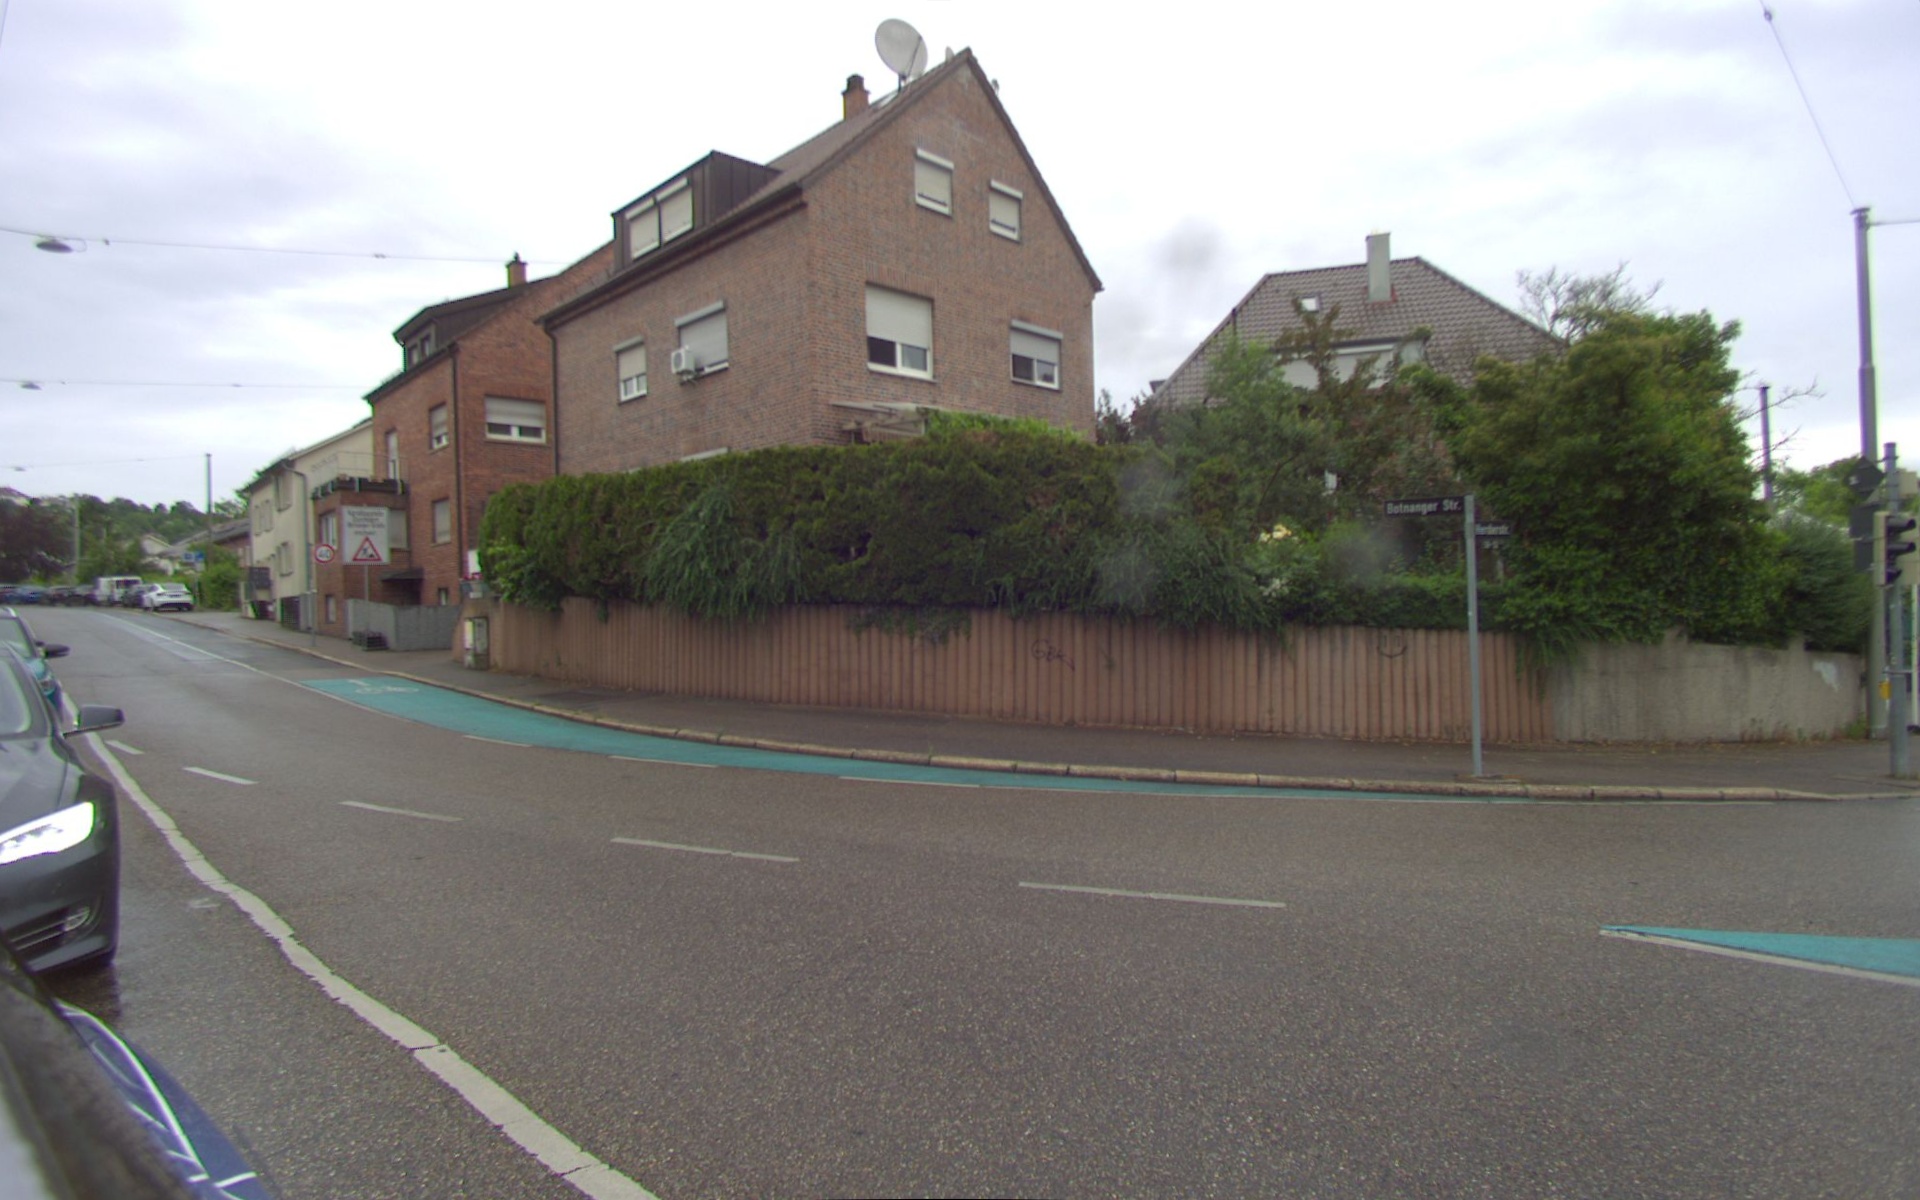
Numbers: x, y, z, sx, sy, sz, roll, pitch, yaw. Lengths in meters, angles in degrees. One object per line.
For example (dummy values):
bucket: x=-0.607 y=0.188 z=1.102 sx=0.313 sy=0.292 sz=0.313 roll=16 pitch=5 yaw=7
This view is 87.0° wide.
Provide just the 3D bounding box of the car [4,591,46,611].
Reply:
car: x=-71.352 y=0.080 z=77.204 sx=3.895 sy=1.501 sz=1.605 roll=-1 pitch=2 yaw=36

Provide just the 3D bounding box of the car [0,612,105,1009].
car: x=-5.397 y=0.797 z=4.700 sx=4.002 sy=1.426 sz=1.845 roll=0 pitch=0 yaw=45

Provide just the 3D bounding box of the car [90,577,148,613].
car: x=-57.015 y=-0.327 z=68.581 sx=4.544 sy=2.303 sz=2.229 roll=0 pitch=2 yaw=41

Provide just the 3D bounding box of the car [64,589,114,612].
car: x=-61.543 y=0.056 z=71.488 sx=4.002 sy=1.501 sz=1.636 roll=-1 pitch=2 yaw=34

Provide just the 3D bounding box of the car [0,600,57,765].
car: x=-11.034 y=0.806 z=10.873 sx=3.785 sy=1.601 sz=1.765 roll=0 pitch=0 yaw=45

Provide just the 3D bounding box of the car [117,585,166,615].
car: x=-52.369 y=-0.017 z=64.723 sx=4.262 sy=1.817 sz=1.791 roll=0 pitch=2 yaw=42

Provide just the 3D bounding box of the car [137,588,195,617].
car: x=-46.420 y=0.155 z=59.130 sx=4.262 sy=1.577 sz=1.921 roll=0 pitch=2 yaw=42

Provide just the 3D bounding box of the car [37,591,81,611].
car: x=-66.577 y=0.052 z=74.746 sx=3.854 sy=1.407 sz=1.635 roll=-1 pitch=2 yaw=36
